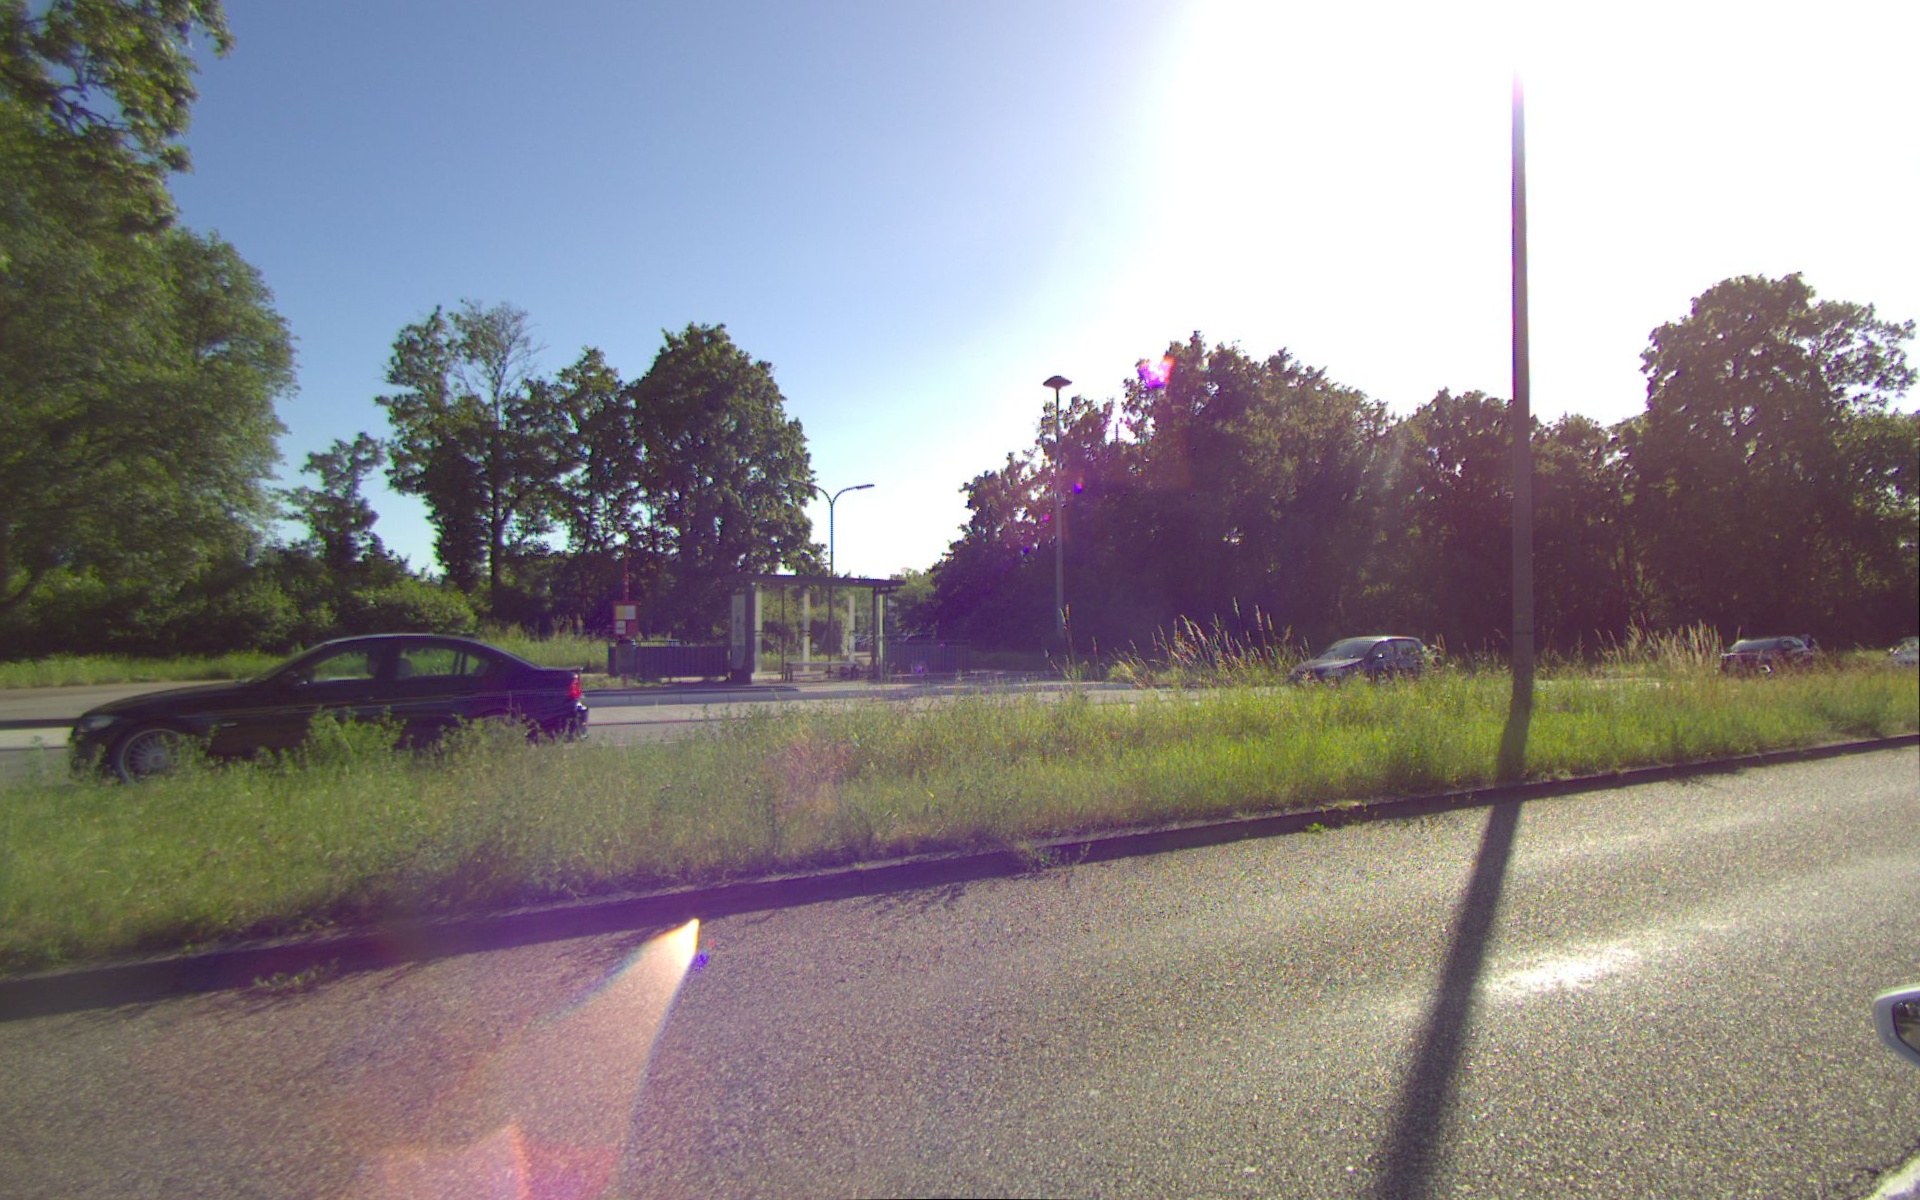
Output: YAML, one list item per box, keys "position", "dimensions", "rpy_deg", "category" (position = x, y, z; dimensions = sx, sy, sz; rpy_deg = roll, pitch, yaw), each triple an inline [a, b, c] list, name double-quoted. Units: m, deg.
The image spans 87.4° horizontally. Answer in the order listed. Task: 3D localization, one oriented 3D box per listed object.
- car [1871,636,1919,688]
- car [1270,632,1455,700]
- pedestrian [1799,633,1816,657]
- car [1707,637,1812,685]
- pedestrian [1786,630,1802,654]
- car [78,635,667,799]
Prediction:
- position: [31.881, 2.004, 32.956]
  dimensions: [4.306, 1.623, 1.706]
  rpy_deg: [1, -2, -30]
  category: "car"
- position: [9.811, 1.562, 24.380]
  dimensions: [4.544, 1.520, 1.796]
  rpy_deg: [1, -3, -31]
  category: "car"
- position: [53.043, 2.817, 62.842]
  dimensions: [0.906, 1.479, 0.542]
  rpy_deg: [1, -2, -31]
  category: "pedestrian"
- position: [28.005, 2.130, 35.154]
  dimensions: [3.956, 1.583, 1.596]
  rpy_deg: [1, -4, -32]
  category: "car"
- position: [52.644, 2.640, 63.394]
  dimensions: [0.589, 1.479, 0.542]
  rpy_deg: [2, 1, -31]
  category: "pedestrian"
- position: [-5.771, 1.066, 10.518]
  dimensions: [4.923, 1.379, 1.773]
  rpy_deg: [1, -3, -31]
  category: "car"
